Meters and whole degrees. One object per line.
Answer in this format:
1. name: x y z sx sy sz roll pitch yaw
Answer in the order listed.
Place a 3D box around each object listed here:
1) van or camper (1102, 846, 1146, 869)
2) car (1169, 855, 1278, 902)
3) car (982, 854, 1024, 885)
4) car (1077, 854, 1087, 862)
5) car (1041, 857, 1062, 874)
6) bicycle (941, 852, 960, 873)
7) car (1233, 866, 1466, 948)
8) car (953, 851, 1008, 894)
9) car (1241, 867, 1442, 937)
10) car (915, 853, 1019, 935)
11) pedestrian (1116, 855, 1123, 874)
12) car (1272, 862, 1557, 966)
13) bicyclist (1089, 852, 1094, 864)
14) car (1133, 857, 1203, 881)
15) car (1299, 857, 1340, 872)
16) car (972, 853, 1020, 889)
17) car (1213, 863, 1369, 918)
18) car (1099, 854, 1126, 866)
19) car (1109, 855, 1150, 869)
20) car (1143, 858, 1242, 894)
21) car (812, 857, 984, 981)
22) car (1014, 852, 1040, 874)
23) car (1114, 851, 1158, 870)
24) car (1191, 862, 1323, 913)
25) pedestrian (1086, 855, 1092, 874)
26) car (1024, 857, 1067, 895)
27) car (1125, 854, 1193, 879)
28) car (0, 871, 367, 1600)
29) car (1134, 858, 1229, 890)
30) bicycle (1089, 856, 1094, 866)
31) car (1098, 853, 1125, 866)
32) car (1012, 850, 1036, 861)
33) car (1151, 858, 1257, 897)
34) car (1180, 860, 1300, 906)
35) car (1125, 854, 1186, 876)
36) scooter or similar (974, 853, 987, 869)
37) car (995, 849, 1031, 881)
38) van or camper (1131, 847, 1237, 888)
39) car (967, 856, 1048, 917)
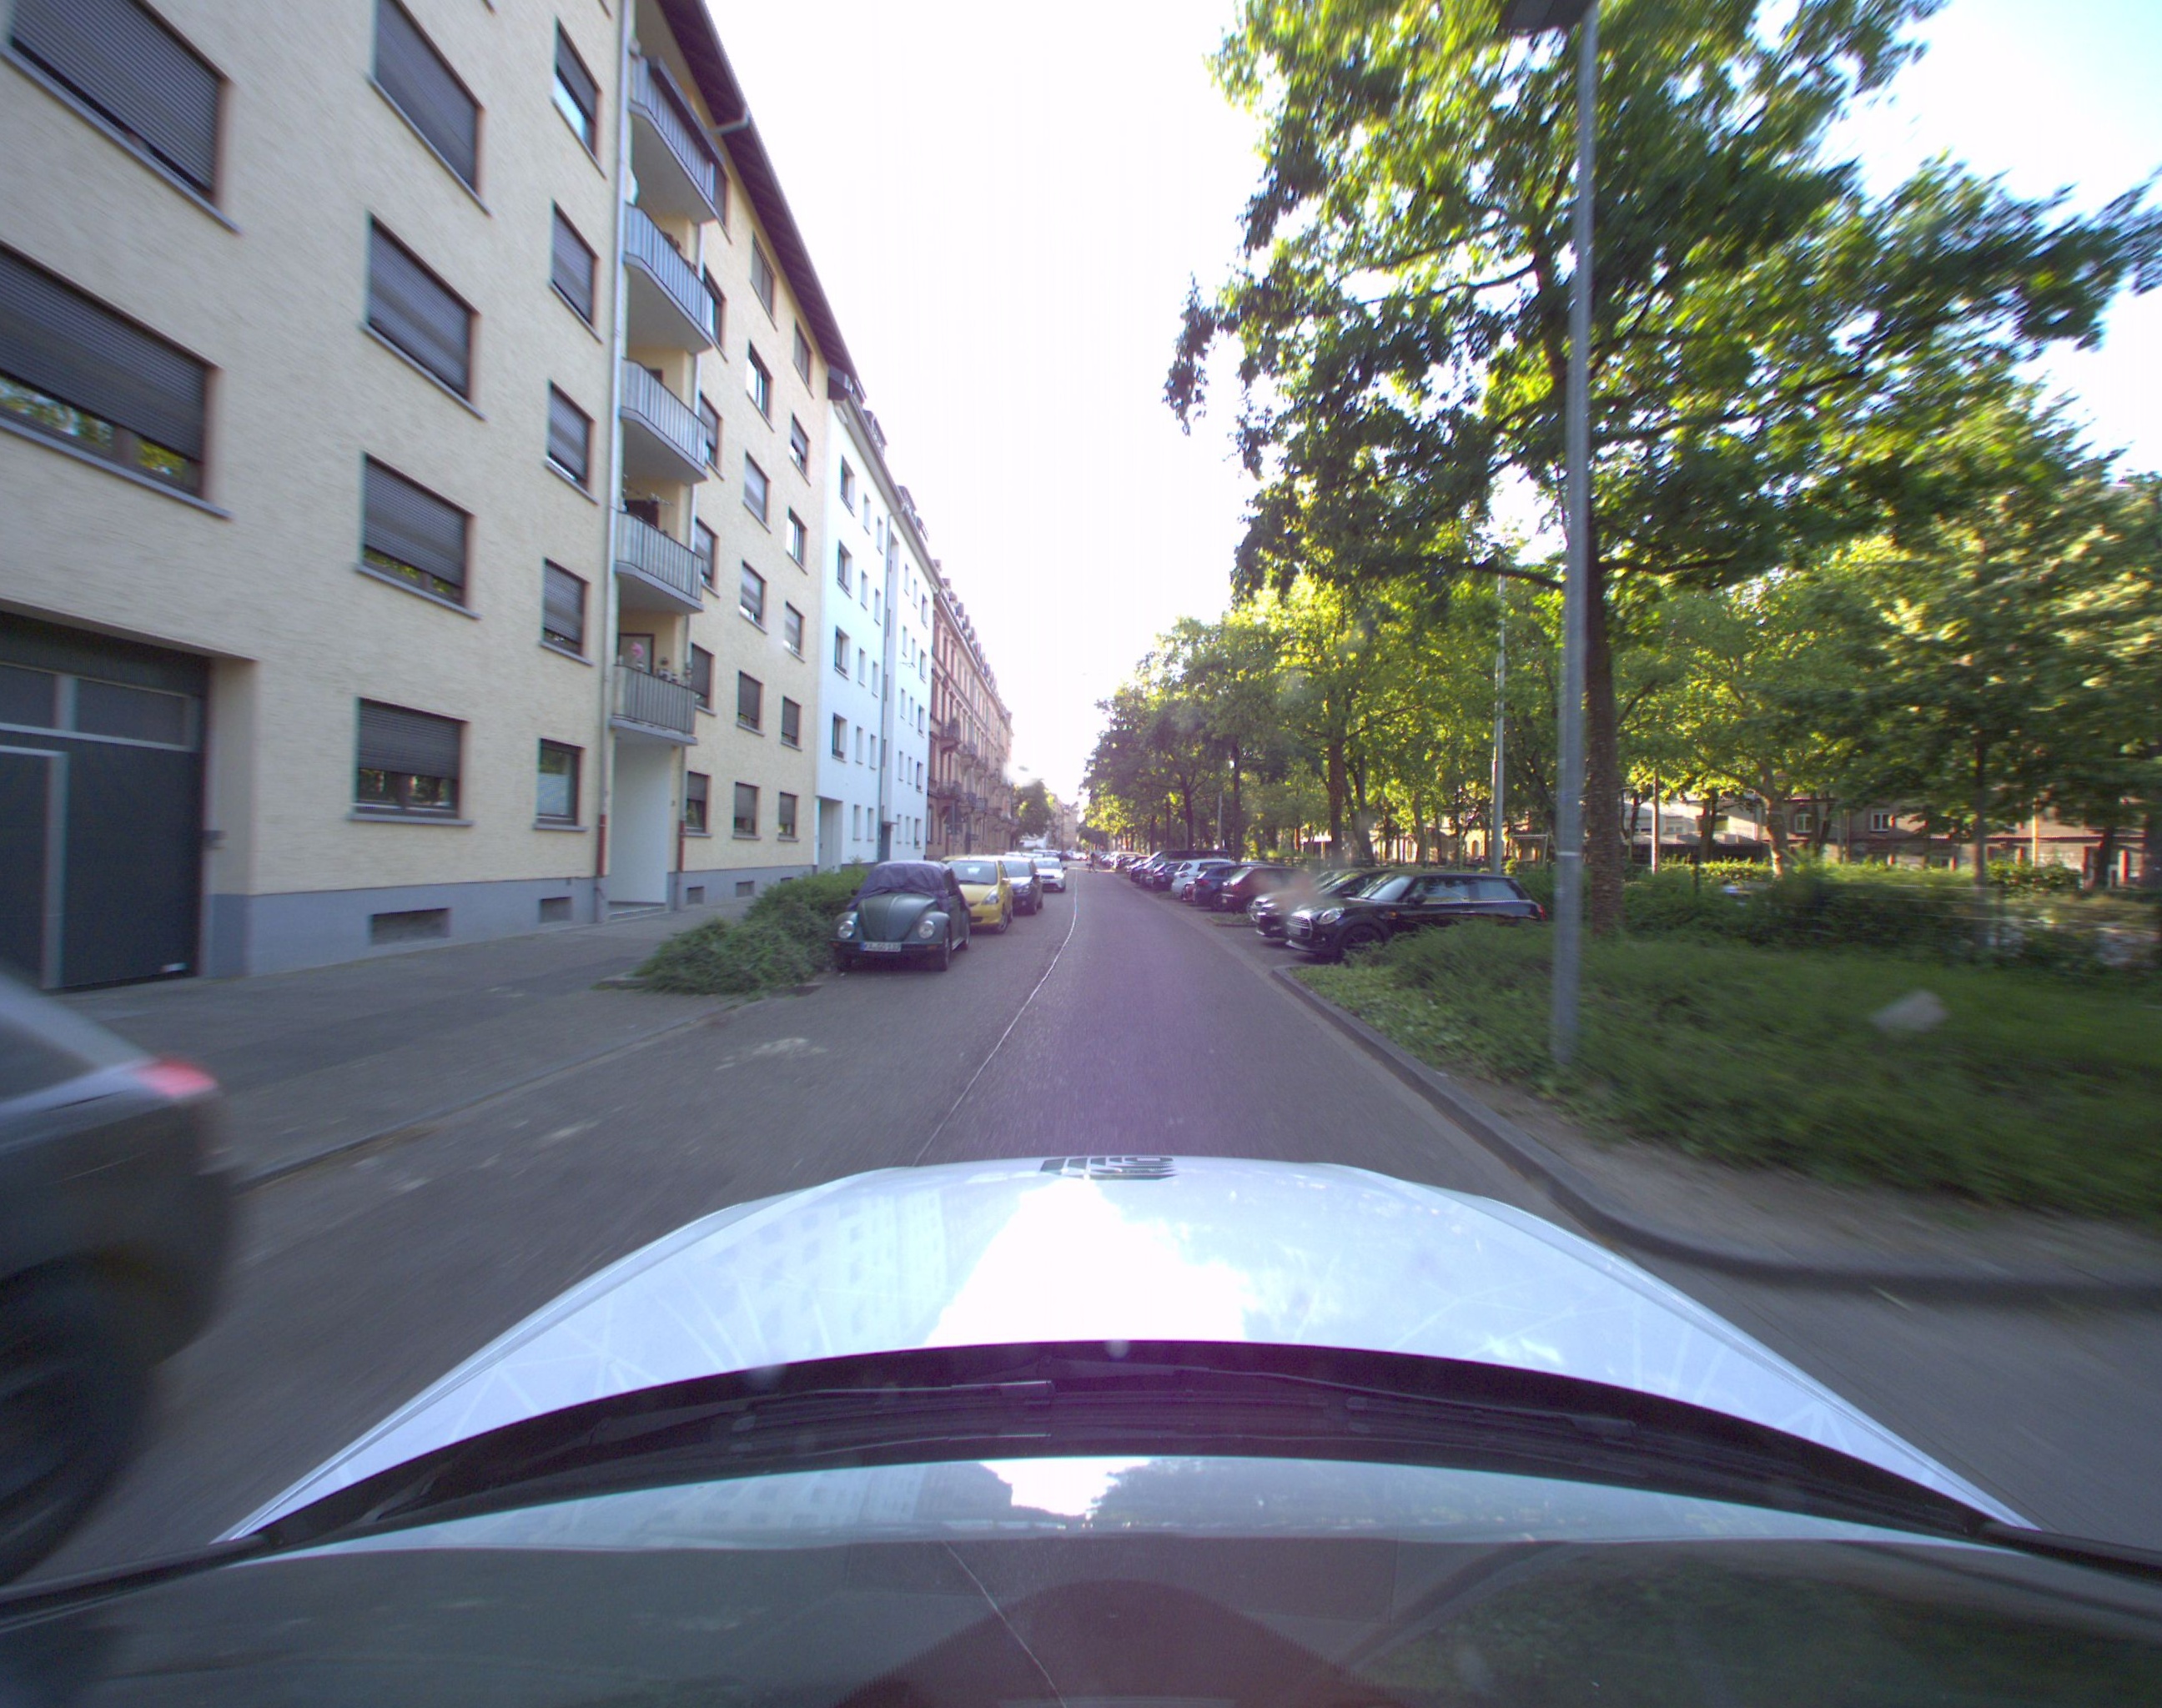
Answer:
1. van or camper: 5.110 0.437 97.293 4.969 2.377 2.183 3 -2 -3
2. car: 5.212 0.894 30.110 3.769 1.646 1.664 1 -2 0
3. car: -4.043 0.751 42.699 1.609 1.451 4.002 3 0 2
4. car: 0.160 0.758 147.925 1.663 1.464 3.998 0 0 -1
5. car: -2.587 1.033 71.568 1.497 1.435 2.756 0 0 4
6. bicycle: -8.161 0.504 50.962 0.734 1.206 2.514 2 1 1
7. car: 4.875 0.952 15.201 3.769 1.401 1.827 1 -2 0
8. car: -3.998 0.707 33.037 1.663 1.508 3.999 4 0 -1
9. car: 5.470 1.000 17.412 3.771 1.401 1.663 1 -2 -1
10. car: -2.308 0.767 17.348 1.697 1.525 3.772 1 0 -1
11. pedestrian: 3.177 0.875 66.917 0.377 1.516 0.521 2 2 19
12. car: 5.053 0.901 12.623 3.775 1.472 1.632 1 -2 -5
13. bicyclist: 1.355 0.503 103.956 0.626 1.573 0.801 3 -2 -2
14. car: 5.534 0.954 52.396 4.382 1.440 1.838 1 -1 2
15. car: 30.230 1.285 103.236 4.658 1.684 2.010 2 -2 23
16. car: -3.903 0.748 38.140 1.663 1.471 4.284 4 0 1
17. car: 5.669 0.992 22.270 3.775 1.401 1.763 1 -2 -4
18. car: 4.811 0.898 124.889 3.978 1.563 1.856 3 -2 -4
19. car: 5.065 0.855 84.758 4.201 1.453 1.650 0 0 3
20. car: 5.111 1.024 37.677 4.382 1.577 1.665 1 -2 1
21. car: -2.511 0.814 12.042 1.561 1.517 3.783 1 0 1
22. car: -4.124 0.677 62.926 1.749 1.464 3.997 4 0 -2
23. car: 5.388 0.661 80.281 4.205 1.864 1.762 0 0 0
24. car: 5.272 0.997 24.740 3.764 1.447 1.666 0 -2 5
25. pedestrian: 0.687 0.901 71.196 0.377 1.584 0.521 2 2 19
26. car: -1.507 0.921 35.995 1.663 1.430 4.000 -1 1 0
27. car: 5.264 0.854 55.150 4.386 1.591 1.837 1 -1 -1
28. car: -3.039 0.797 0.495 1.631 1.466 4.000 -2 0 0
29. car: 4.934 1.001 40.270 4.390 1.501 1.835 1 -2 -4
30. bicycle: 1.339 0.905 104.016 0.639 1.100 1.942 3 -2 -1
31. car: 4.714 0.834 127.557 3.978 1.794 1.856 3 -2 -4
32. car: -10.036 0.236 144.341 3.973 1.706 2.000 2 -2 0
33. car: 5.193 0.986 34.834 4.379 1.577 1.666 0 -2 4
34. car: 5.301 0.977 27.476 3.767 1.474 1.665 1 -2 2
35. car: 5.682 0.826 62.532 4.392 1.591 1.834 1 -1 -5
36. scooter or similar: -8.505 0.609 68.973 0.781 1.222 2.703 2 -2 0
37. car: -3.950 0.630 47.987 1.746 1.706 4.199 2 0 -1
38. van or camper: 5.335 0.687 42.727 5.393 2.027 2.030 1 0 1
39. car: -1.912 0.816 22.275 1.733 1.479 4.001 0 0 1
